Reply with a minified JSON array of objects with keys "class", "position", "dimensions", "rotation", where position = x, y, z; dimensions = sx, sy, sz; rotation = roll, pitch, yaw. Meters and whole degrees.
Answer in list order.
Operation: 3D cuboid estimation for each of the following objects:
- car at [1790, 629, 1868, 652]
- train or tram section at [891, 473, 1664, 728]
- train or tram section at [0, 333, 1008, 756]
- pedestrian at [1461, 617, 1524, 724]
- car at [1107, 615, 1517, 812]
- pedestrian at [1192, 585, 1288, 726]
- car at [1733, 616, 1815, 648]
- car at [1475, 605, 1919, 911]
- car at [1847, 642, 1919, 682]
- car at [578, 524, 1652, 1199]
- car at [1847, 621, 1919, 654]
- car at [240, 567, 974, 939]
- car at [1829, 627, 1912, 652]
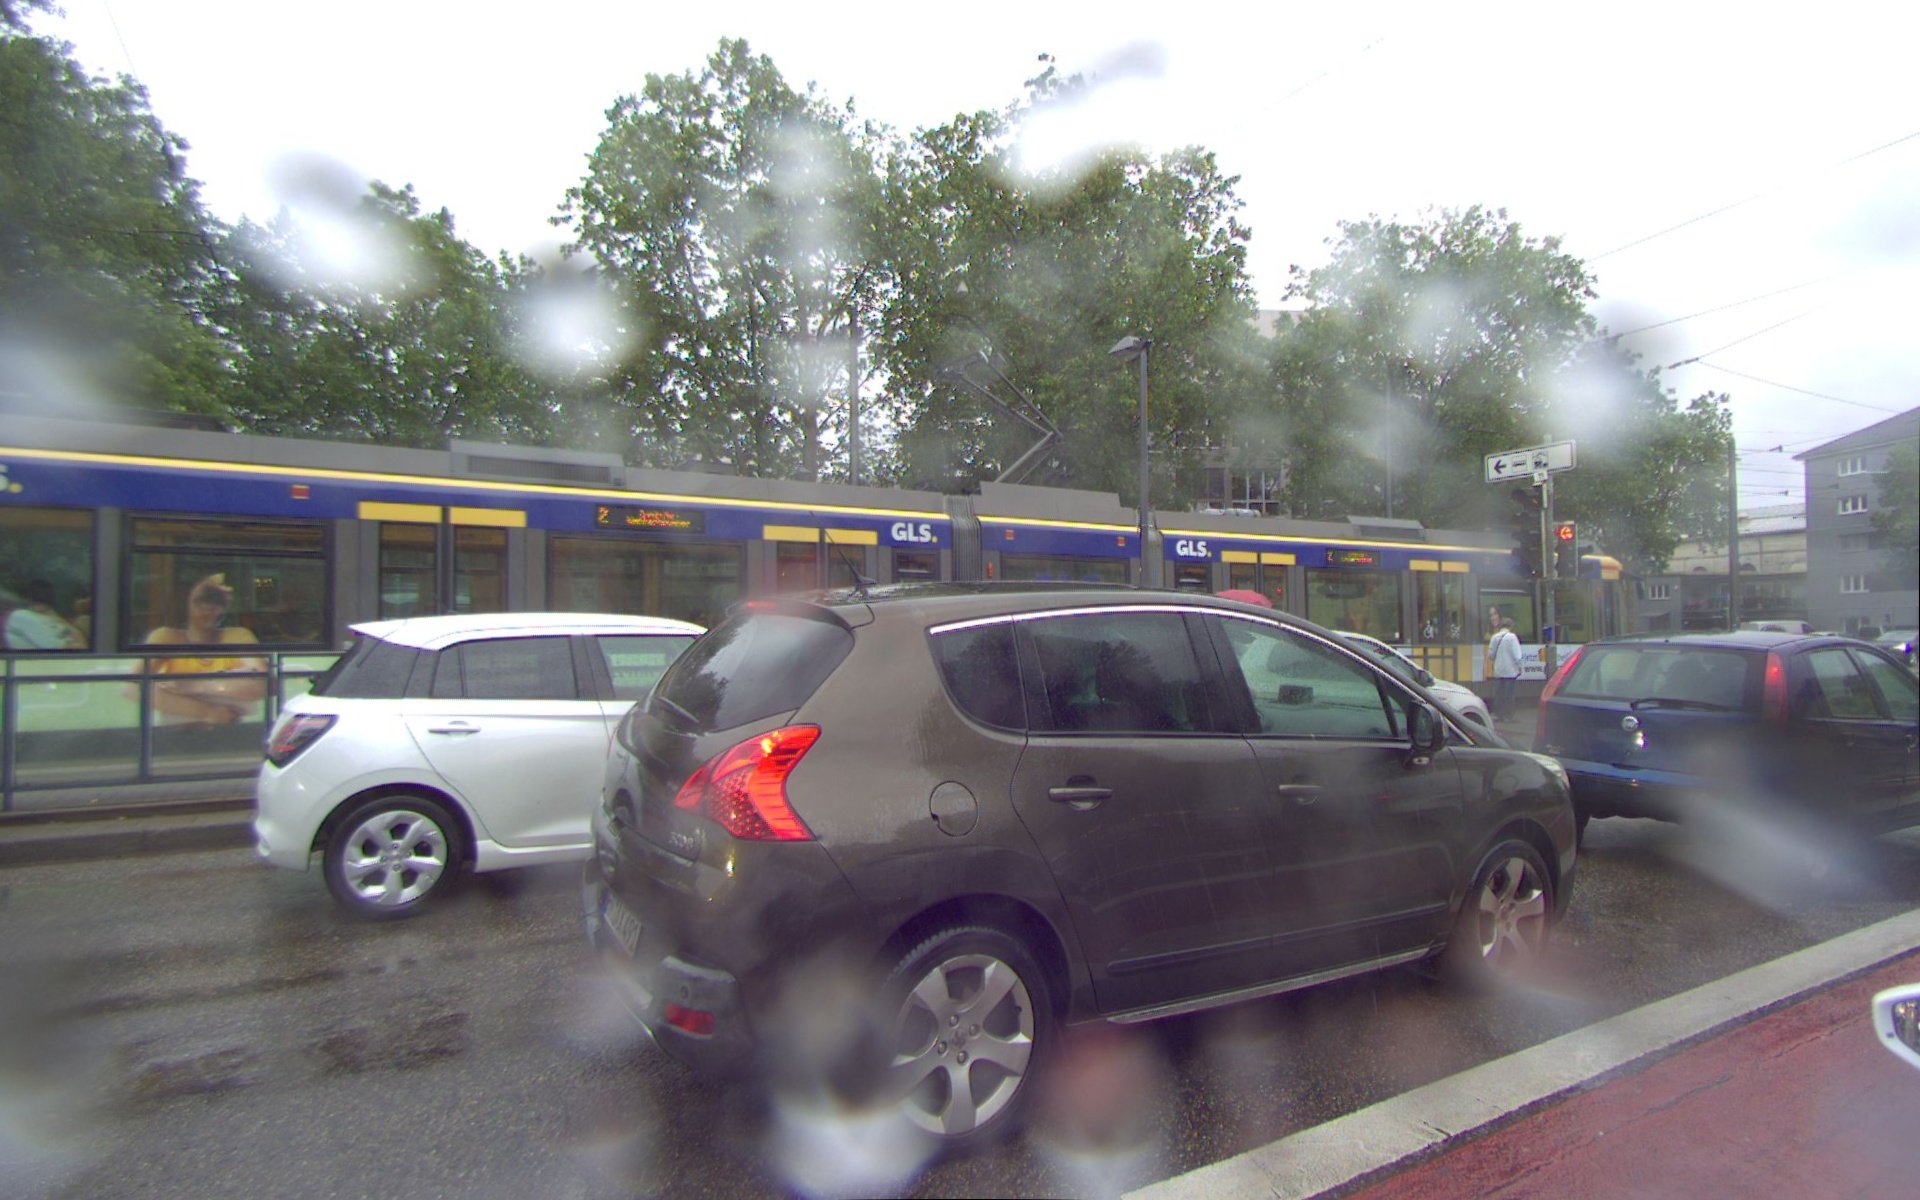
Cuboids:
[{"class":"car","position":[61.323,2.843,70.904],"dimensions":[3.922,1.516,1.960],"rotation":[0,0,-3]},{"class":"train or tram section","position":[6.505,0.166,18.539],"dimensions":[15.296,3.458,3.529],"rotation":[2,0,-25]},{"class":"train or tram section","position":[-6.062,-0.416,11.700],"dimensions":[13.500,3.559,3.496],"rotation":[1,0,-31]},{"class":"pedestrian","position":[8.419,1.088,15.875],"dimensions":[0.735,1.628,0.620],"rotation":[1,0,-38]},{"class":"car","position":[3.368,0.934,9.466],"dimensions":[3.737,1.514,1.621],"rotation":[1,-1,-30]},{"class":"pedestrian","position":[3.684,0.719,13.233],"dimensions":[0.888,1.769,0.762],"rotation":[0,-3,-30]},{"class":"car","position":[59.650,2.325,73.638],"dimensions":[4.698,2.228,1.998],"rotation":[0,1,-6]},{"class":"car","position":[5.532,0.875,6.986],"dimensions":[3.776,1.599,1.719],"rotation":[1,-1,-30]},{"class":"car","position":[42.576,2.791,45.322],"dimensions":[3.931,1.629,1.952],"rotation":[0,0,-13]},{"class":"car","position":[0.773,0.721,4.114],"dimensions":[4.124,1.690,1.825],"rotation":[1,-1,-30]},{"class":"car","position":[60.862,2.432,65.749],"dimensions":[3.923,2.040,1.999],"rotation":[1,0,-3]},{"class":"car","position":[-1.952,0.737,6.144],"dimensions":[3.791,1.650,1.637],"rotation":[1,-2,-30]},{"class":"car","position":[61.820,2.677,68.269],"dimensions":[3.922,1.550,1.999],"rotation":[0,0,-3]}]
